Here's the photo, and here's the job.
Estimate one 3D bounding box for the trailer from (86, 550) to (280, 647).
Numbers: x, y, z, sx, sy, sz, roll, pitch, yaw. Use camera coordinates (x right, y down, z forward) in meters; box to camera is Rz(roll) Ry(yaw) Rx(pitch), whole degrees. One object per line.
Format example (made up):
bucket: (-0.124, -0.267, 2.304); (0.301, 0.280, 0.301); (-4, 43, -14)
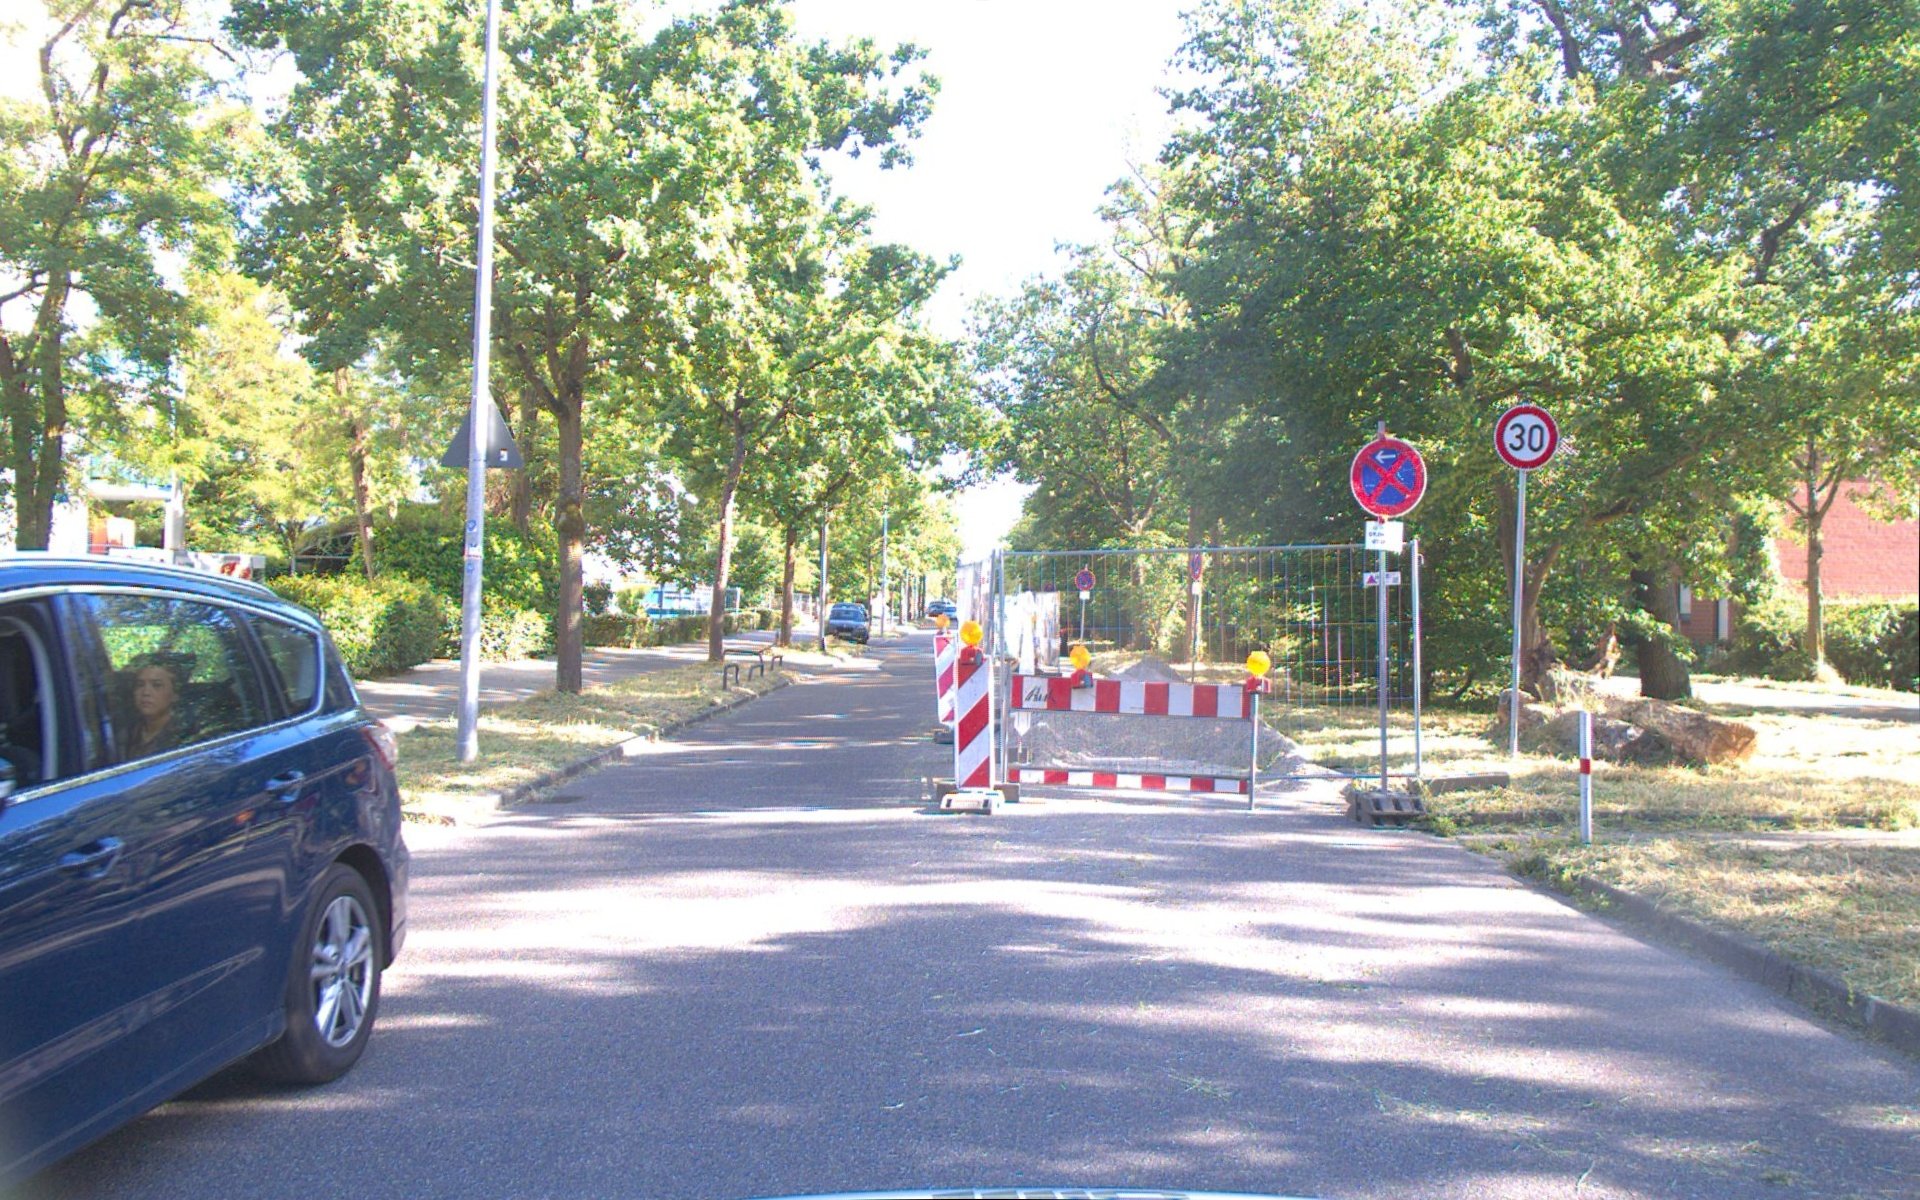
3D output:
trailer: (-17.797, -0.024, 38.122); (1.934, 2.078, 4.433); (1, 0, 7)

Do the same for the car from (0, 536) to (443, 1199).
car: (-2.881, 0.708, 3.759); (1.783, 1.653, 4.494); (-1, 0, 3)

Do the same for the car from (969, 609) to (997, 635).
car: (1.263, 1.193, 90.280); (1.334, 1.325, 3.479); (2, -1, -2)

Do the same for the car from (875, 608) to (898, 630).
car: (-4.543, 1.204, 102.831); (1.334, 1.325, 3.479); (2, -1, -2)

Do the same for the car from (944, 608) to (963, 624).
car: (-0.689, 1.662, 174.549); (1.676, 1.613, 3.997); (2, -1, -3)

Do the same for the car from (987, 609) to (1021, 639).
car: (2.054, 1.125, 77.313); (1.334, 1.325, 3.479); (2, -1, -2)

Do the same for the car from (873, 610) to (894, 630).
car: (-5.289, 1.395, 114.558); (1.334, 1.325, 3.479); (2, -1, -2)
